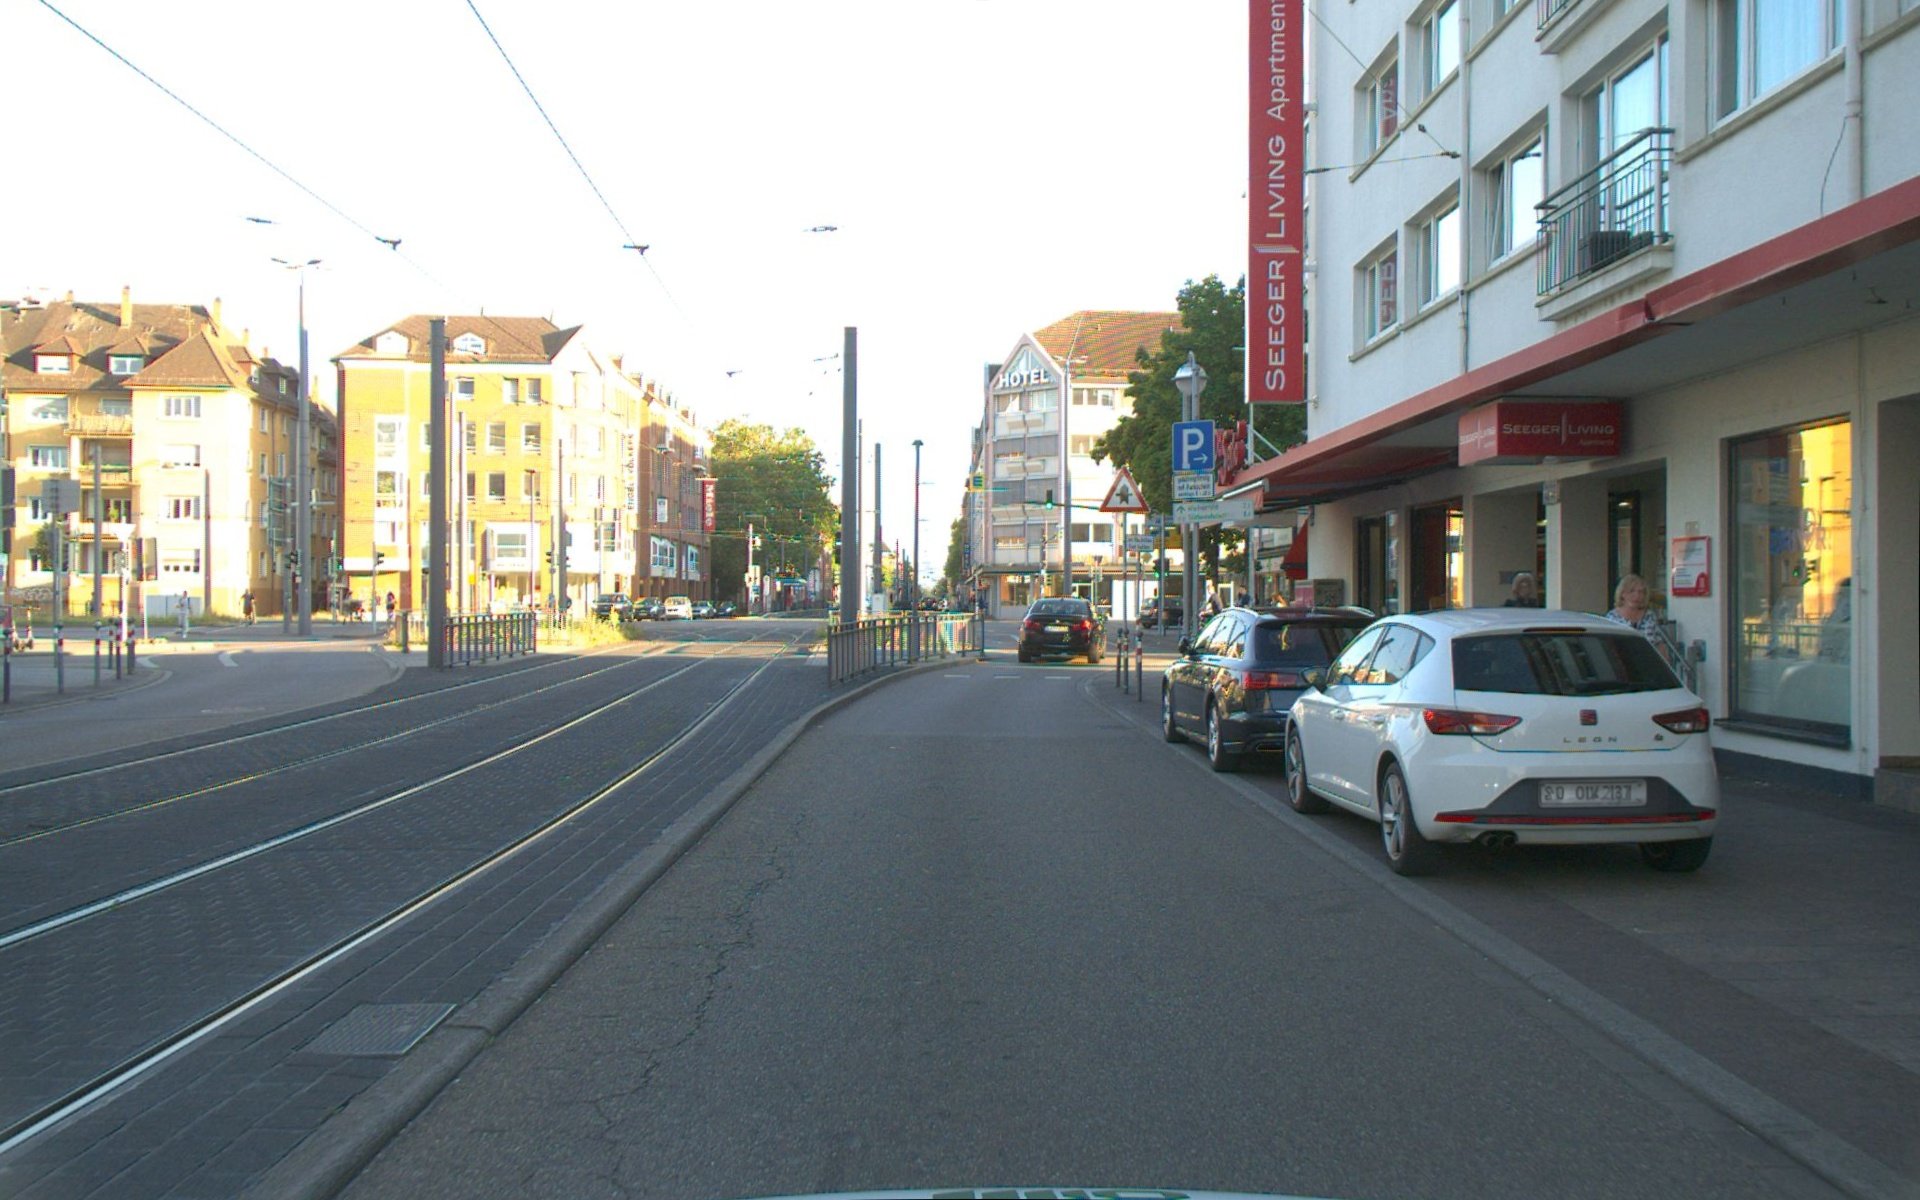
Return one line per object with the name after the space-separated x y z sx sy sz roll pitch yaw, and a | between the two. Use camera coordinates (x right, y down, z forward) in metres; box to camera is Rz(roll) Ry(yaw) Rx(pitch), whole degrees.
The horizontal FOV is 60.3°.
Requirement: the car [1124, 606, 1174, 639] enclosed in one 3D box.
9.344 1.098 82.086 1.953 1.579 3.999 0 0 -1 | car

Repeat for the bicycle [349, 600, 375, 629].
-28.888 0.698 79.899 0.606 1.348 2.014 2 0 -5 | bicycle

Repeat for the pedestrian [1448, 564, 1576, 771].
4.858 0.580 14.606 0.810 1.748 0.843 -1 0 -1 | pedestrian

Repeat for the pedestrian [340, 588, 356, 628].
-29.446 0.399 79.588 0.492 1.900 0.562 2 0 -6 | pedestrian

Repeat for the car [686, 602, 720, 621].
-20.499 0.938 132.123 1.634 1.473 4.204 0 0 6 | car

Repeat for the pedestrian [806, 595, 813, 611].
-15.885 0.339 174.496 0.708 1.710 0.991 0 0 1 | pedestrian

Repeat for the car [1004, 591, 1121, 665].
2.439 0.611 38.434 1.951 1.613 4.003 0 0 15 | car

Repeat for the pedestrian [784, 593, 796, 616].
-15.363 0.388 149.618 0.968 2.049 0.725 2 -1 -2 | pedestrian

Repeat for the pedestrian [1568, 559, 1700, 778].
5.659 0.561 13.937 0.713 1.772 0.863 -1 0 -1 | pedestrian

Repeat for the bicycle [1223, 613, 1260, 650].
7.772 0.872 45.688 0.456 0.987 1.797 0 0 -9 | bicycle

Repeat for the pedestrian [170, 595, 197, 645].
-29.661 0.744 63.203 0.870 1.900 0.970 0 0 -22 | pedestrian

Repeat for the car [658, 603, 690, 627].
-19.739 1.053 114.273 1.955 1.613 4.108 0 0 -6 | car

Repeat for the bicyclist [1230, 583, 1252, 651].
7.771 0.456 45.691 0.456 1.862 0.558 0 0 -9 | bicyclist

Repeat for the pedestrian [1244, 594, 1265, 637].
11.658 0.595 65.504 0.708 1.696 0.671 0 -1 2 | pedestrian

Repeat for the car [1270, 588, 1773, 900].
3.237 0.733 10.438 1.749 1.538 4.051 -1 0 0 | car

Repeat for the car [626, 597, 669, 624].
-19.123 0.645 101.376 1.954 1.613 4.584 0 0 -3 | car

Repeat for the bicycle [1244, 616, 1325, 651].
8.554 0.865 43.642 1.965 0.896 0.840 0 -1 23 | bicycle

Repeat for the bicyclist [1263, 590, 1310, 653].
8.613 0.553 43.617 1.089 1.651 0.840 0 0 23 | bicyclist

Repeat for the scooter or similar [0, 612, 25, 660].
-26.402 0.996 45.991 0.512 1.294 1.238 0 0 -40 | scooter or similar

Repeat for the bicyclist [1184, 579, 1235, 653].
6.740 0.426 44.659 0.832 1.951 1.100 0 0 -38 | bicyclist

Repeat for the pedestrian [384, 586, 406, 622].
-30.568 0.203 89.455 0.923 1.900 0.837 2 0 -10 | pedestrian

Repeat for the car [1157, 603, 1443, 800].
3.033 0.823 15.728 1.700 1.538 4.685 -1 0 0 | car

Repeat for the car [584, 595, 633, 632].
-19.367 0.728 91.247 1.954 1.934 4.808 0 0 -3 | car

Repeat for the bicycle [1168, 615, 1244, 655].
6.647 0.928 44.754 0.832 1.038 2.049 0 0 -38 | bicycle

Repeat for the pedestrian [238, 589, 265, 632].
-32.774 0.474 76.485 1.080 1.978 1.019 0 0 -20 | pedestrian

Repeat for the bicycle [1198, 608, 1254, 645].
9.079 0.906 56.429 1.863 1.257 0.669 0 0 10 | bicycle

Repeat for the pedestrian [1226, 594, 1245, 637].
10.884 0.600 65.364 0.670 1.696 0.671 0 -1 2 | pedestrian

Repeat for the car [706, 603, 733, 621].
-21.113 1.034 145.476 1.954 1.613 4.476 0 0 -3 | car
